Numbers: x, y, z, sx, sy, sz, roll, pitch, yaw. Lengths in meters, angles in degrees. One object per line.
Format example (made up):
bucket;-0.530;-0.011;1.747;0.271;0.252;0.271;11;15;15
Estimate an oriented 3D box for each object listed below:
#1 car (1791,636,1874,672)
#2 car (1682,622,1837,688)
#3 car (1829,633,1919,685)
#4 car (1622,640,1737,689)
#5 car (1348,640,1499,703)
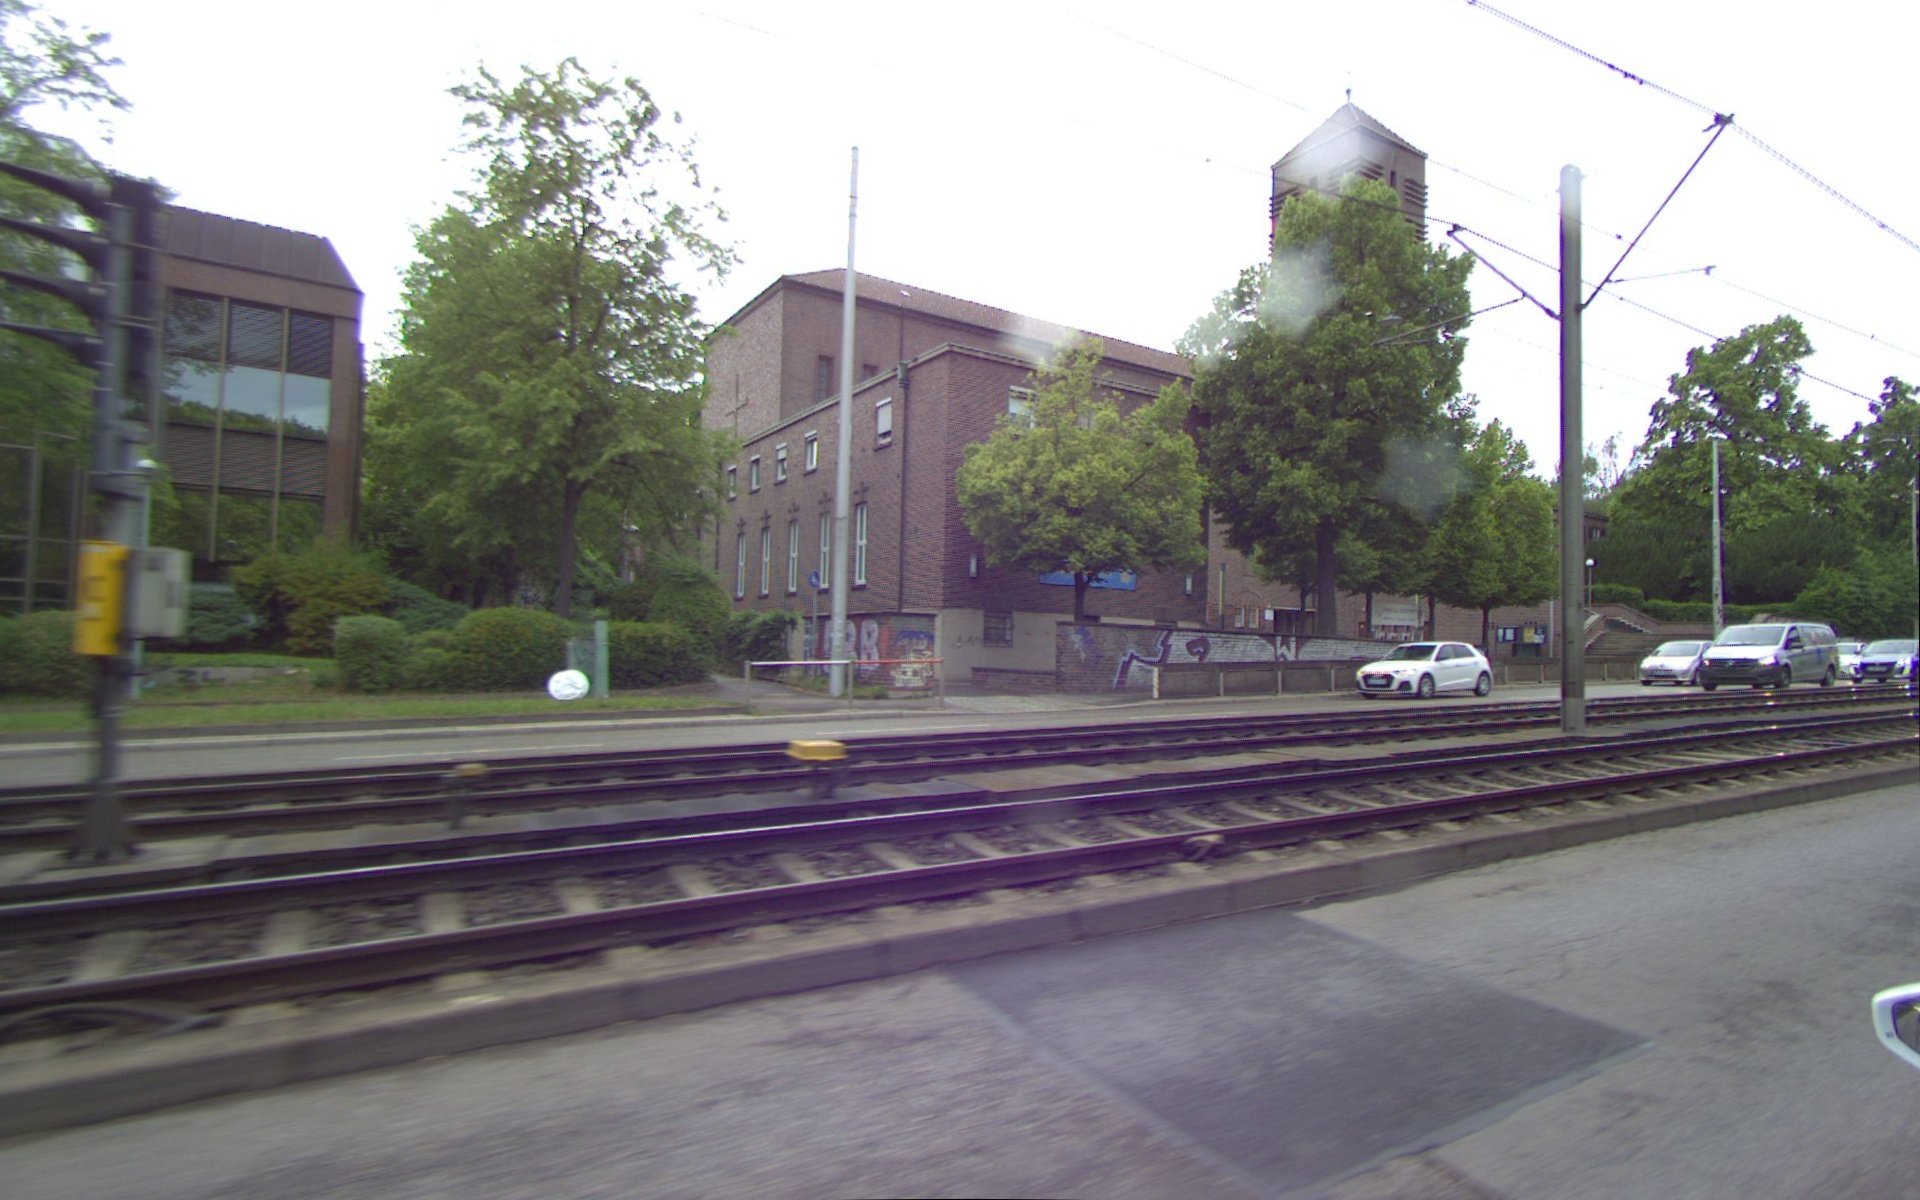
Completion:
car;35.279;2.180;40.590;3.608;1.356;1.550;2;-1;-32
car;22.599;1.489;28.319;5.073;1.684;1.981;1;-1;-34
car;31.527;1.938;33.966;4.484;1.597;1.983;1;-1;-32
car;23.801;2.076;33.217;3.955;1.462;1.719;1;-1;-32
car;11.915;1.776;25.743;3.955;1.453;1.608;1;-1;-32
